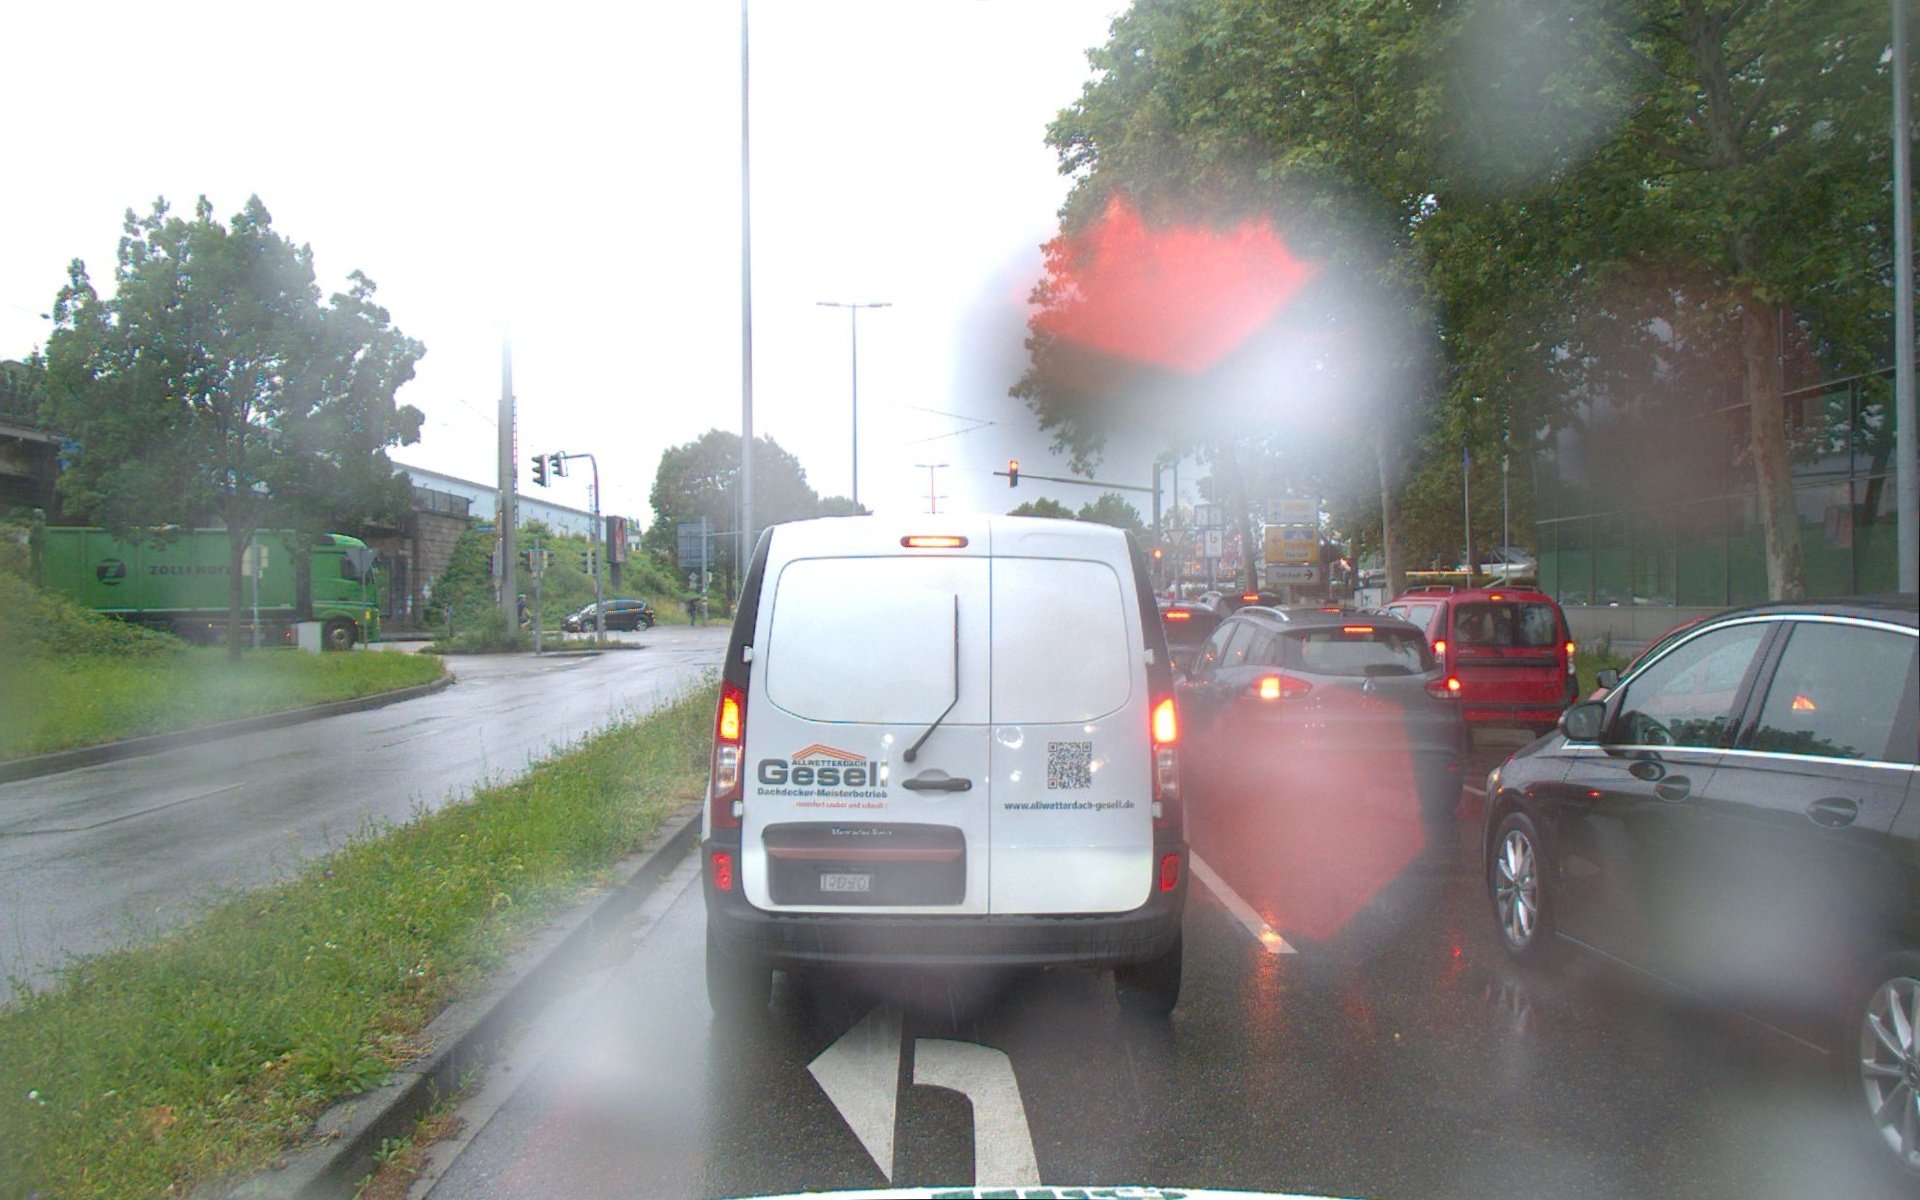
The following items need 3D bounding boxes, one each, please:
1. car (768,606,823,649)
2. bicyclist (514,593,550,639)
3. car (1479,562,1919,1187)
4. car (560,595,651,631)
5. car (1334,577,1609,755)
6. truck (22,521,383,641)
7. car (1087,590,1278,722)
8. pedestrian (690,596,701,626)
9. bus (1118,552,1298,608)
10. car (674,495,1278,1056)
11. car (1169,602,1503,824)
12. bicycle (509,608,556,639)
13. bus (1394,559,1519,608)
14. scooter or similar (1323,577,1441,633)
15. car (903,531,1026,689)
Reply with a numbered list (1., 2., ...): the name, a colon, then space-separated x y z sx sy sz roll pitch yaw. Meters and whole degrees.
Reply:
1. car: -6.280 1.029 63.534 1.779 1.488 3.999 -3 0 -2
2. bicyclist: -14.311 0.527 55.288 1.028 1.475 0.723 -1 1 -26
3. car: 3.255 0.696 5.448 1.712 1.582 4.089 0 0 -2
4. car: -17.486 0.645 81.660 3.956 1.747 1.974 0 0 -37
5. car: 5.530 0.674 18.454 1.676 1.724 4.271 1 -1 -1
6. truck: -23.254 -0.563 51.261 9.956 3.430 2.316 0 0 -37
7. car: 2.673 0.624 20.663 1.816 1.486 3.842 0 0 -1
8. pedestrian: -15.335 0.650 95.908 0.532 1.746 0.563 1 -1 -5
9. bus: 16.624 -1.354 111.150 11.727 3.483 2.315 -1 1 -1
10. car: 0.023 0.547 7.643 1.953 1.807 4.584 0 0 -1
11. car: 2.773 0.763 13.031 1.649 1.433 3.842 1 0 -2
12. bicycle: -14.333 0.777 55.347 1.027 0.968 2.866 -1 1 -25
13. bus: 37.427 -1.266 124.323 11.880 3.483 2.451 -1 1 -37
14. scooter or similar: 19.692 0.216 77.358 1.878 2.489 5.239 0 0 -41
15. car: 0.039 0.136 26.366 1.816 2.336 3.842 0 0 -1
